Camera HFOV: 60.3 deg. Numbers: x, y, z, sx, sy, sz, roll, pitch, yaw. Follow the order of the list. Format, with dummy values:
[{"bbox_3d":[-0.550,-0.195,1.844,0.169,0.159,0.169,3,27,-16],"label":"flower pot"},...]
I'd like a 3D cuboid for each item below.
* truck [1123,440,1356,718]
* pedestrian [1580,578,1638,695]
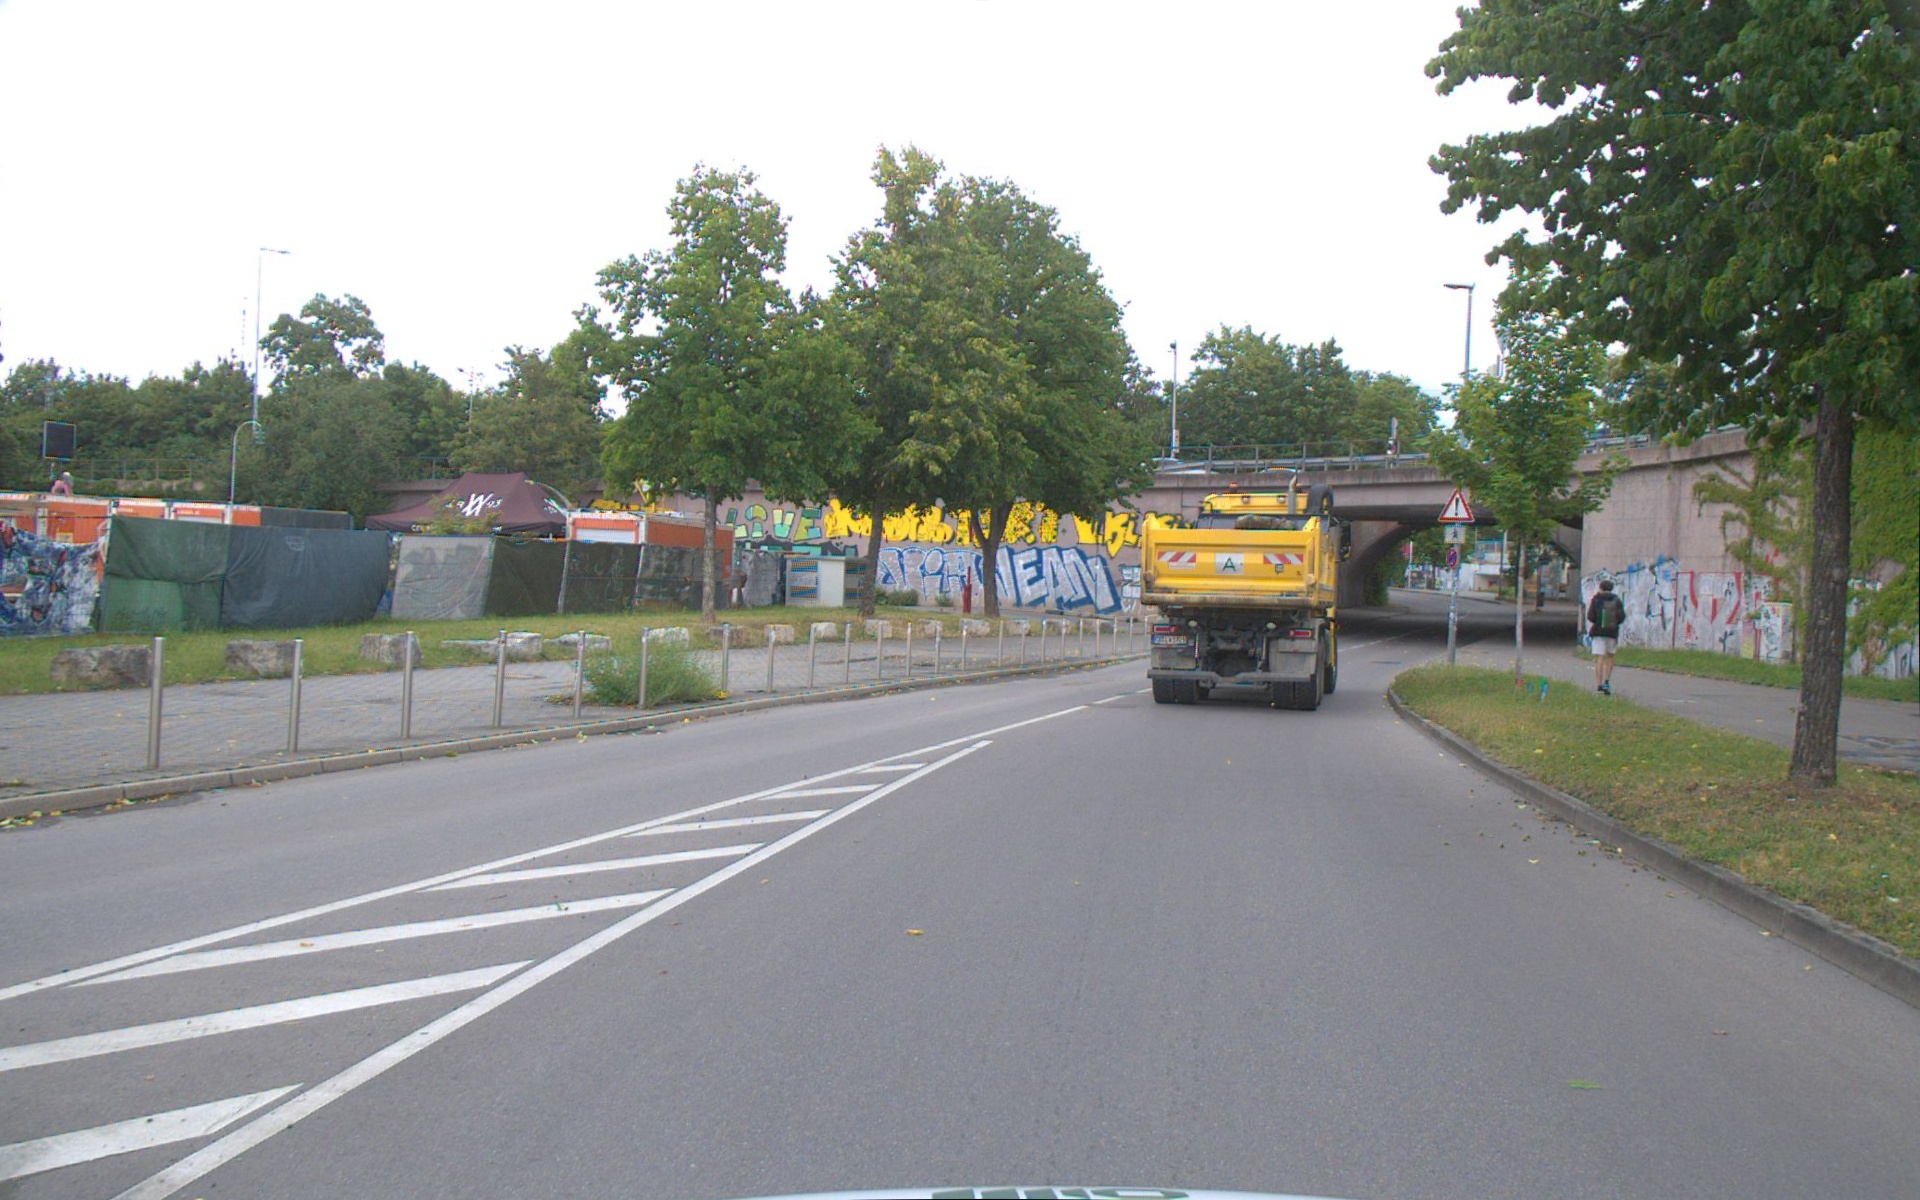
[{"bbox_3d":[4.768,-0.325,26.820,2.700,3.763,7.885,2,1,16],"label":"truck"},{"bbox_3d":[11.053,0.613,28.184,0.719,1.940,0.826,2,0,11],"label":"pedestrian"}]
